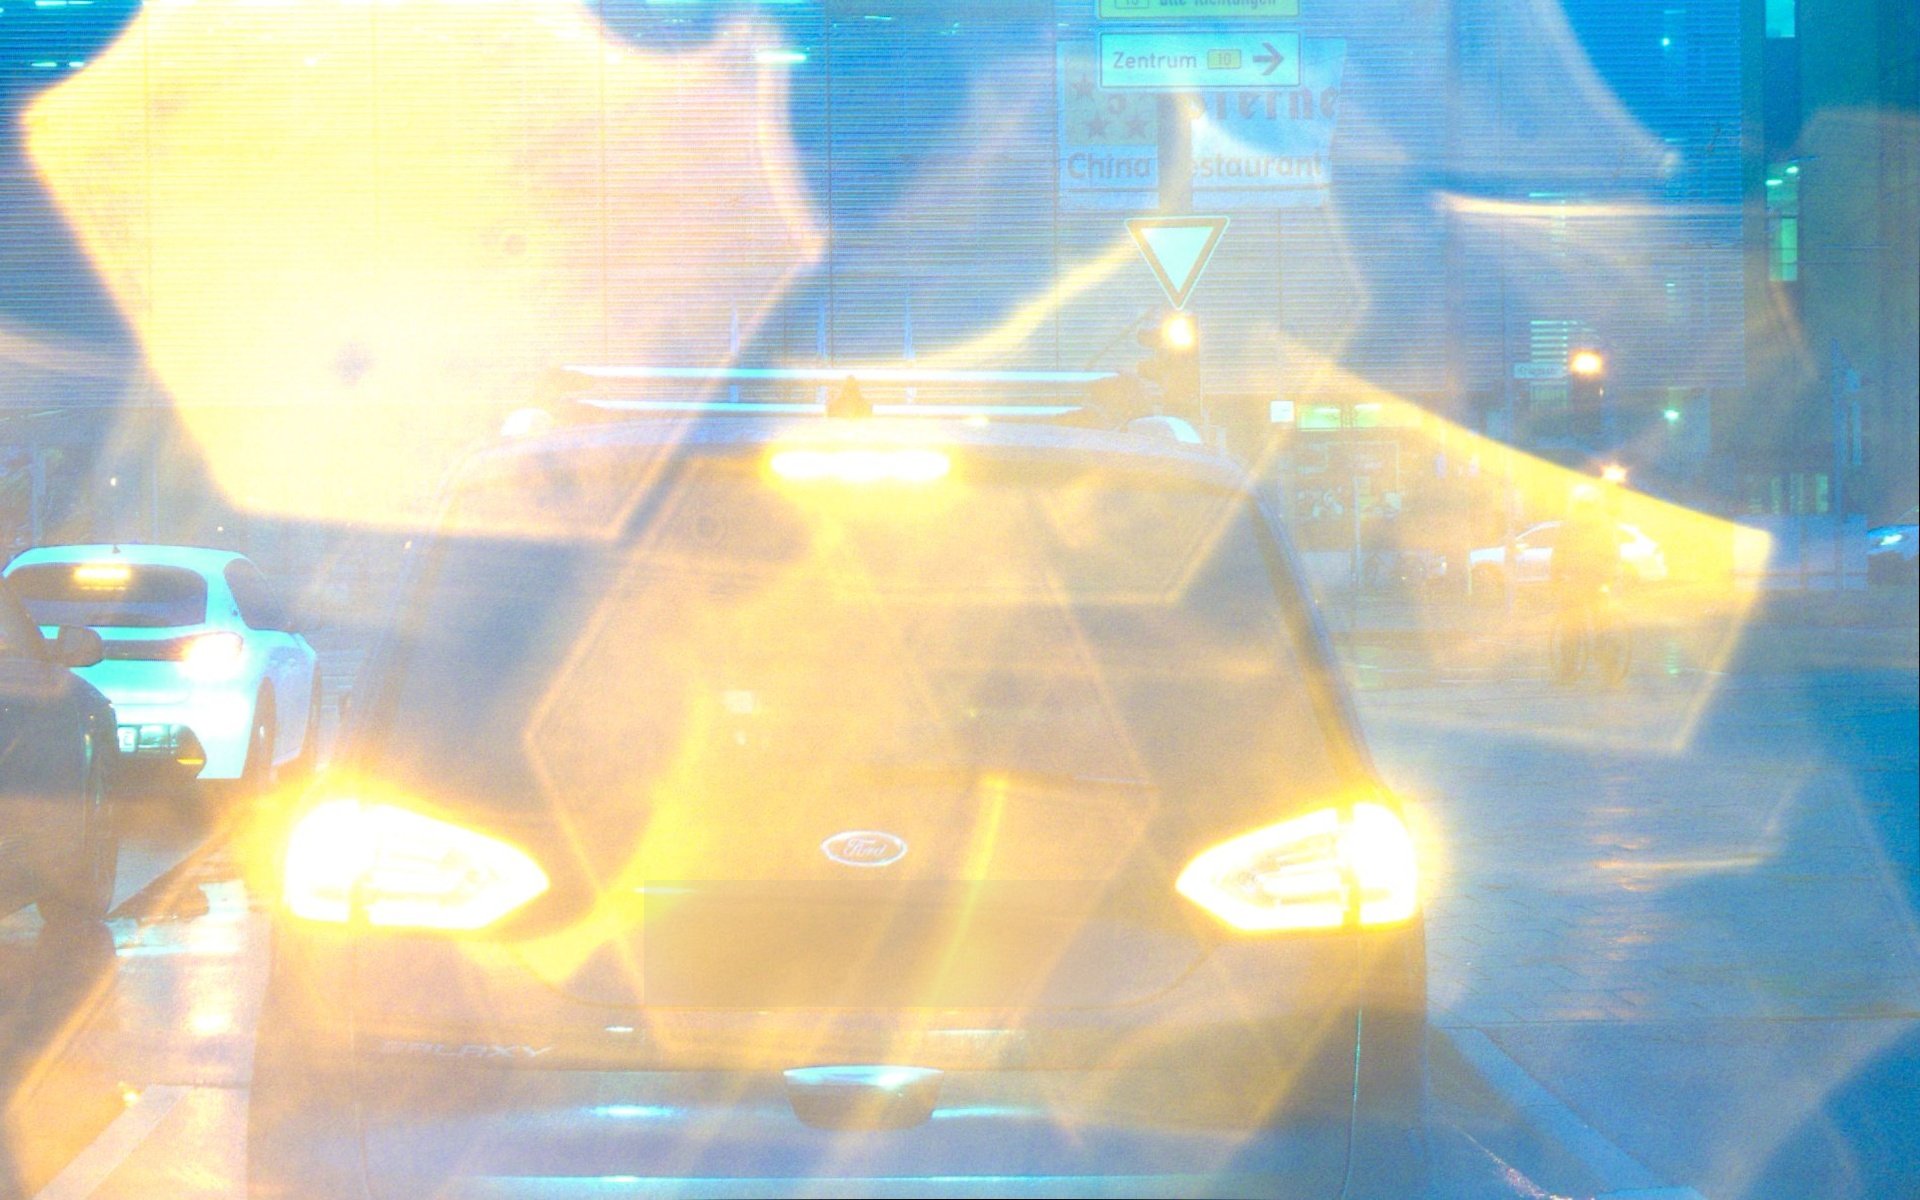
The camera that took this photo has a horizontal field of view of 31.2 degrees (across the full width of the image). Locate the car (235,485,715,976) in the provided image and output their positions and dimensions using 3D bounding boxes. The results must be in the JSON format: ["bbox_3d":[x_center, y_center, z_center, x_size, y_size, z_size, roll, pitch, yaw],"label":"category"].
[{"bbox_3d":[-1.832,0.430,13.735,1.636,1.691,3.671,1,1,-5],"label":"car"}]

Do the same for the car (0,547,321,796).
[{"bbox_3d":[-4.490,0.331,19.457,1.540,1.247,4.069,0,1,-8],"label":"car"}]

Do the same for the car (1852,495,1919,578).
[{"bbox_3d":[19.858,-1.262,67.003,4.418,1.589,1.800,-1,1,-7],"label":"car"}]

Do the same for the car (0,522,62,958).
[{"bbox_3d":[-4.273,0.525,11.517,1.752,1.568,4.001,-1,1,-4],"label":"car"}]

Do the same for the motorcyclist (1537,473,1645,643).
[{"bbox_3d":[5.806,-0.393,31.673,0.868,1.529,1.108,0,1,5],"label":"motorcyclist"}]

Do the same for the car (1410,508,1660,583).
[{"bbox_3d":[11.086,-1.058,66.368,4.418,1.385,1.800,-1,1,-7],"label":"car"}]

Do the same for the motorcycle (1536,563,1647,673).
[{"bbox_3d":[5.805,0.156,31.667,0.853,0.968,1.581,0,1,5],"label":"motorcycle"}]

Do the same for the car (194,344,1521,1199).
[{"bbox_3d":[-0.244,0.506,6.710,1.735,1.732,4.247,2,1,-3],"label":"car"}]
